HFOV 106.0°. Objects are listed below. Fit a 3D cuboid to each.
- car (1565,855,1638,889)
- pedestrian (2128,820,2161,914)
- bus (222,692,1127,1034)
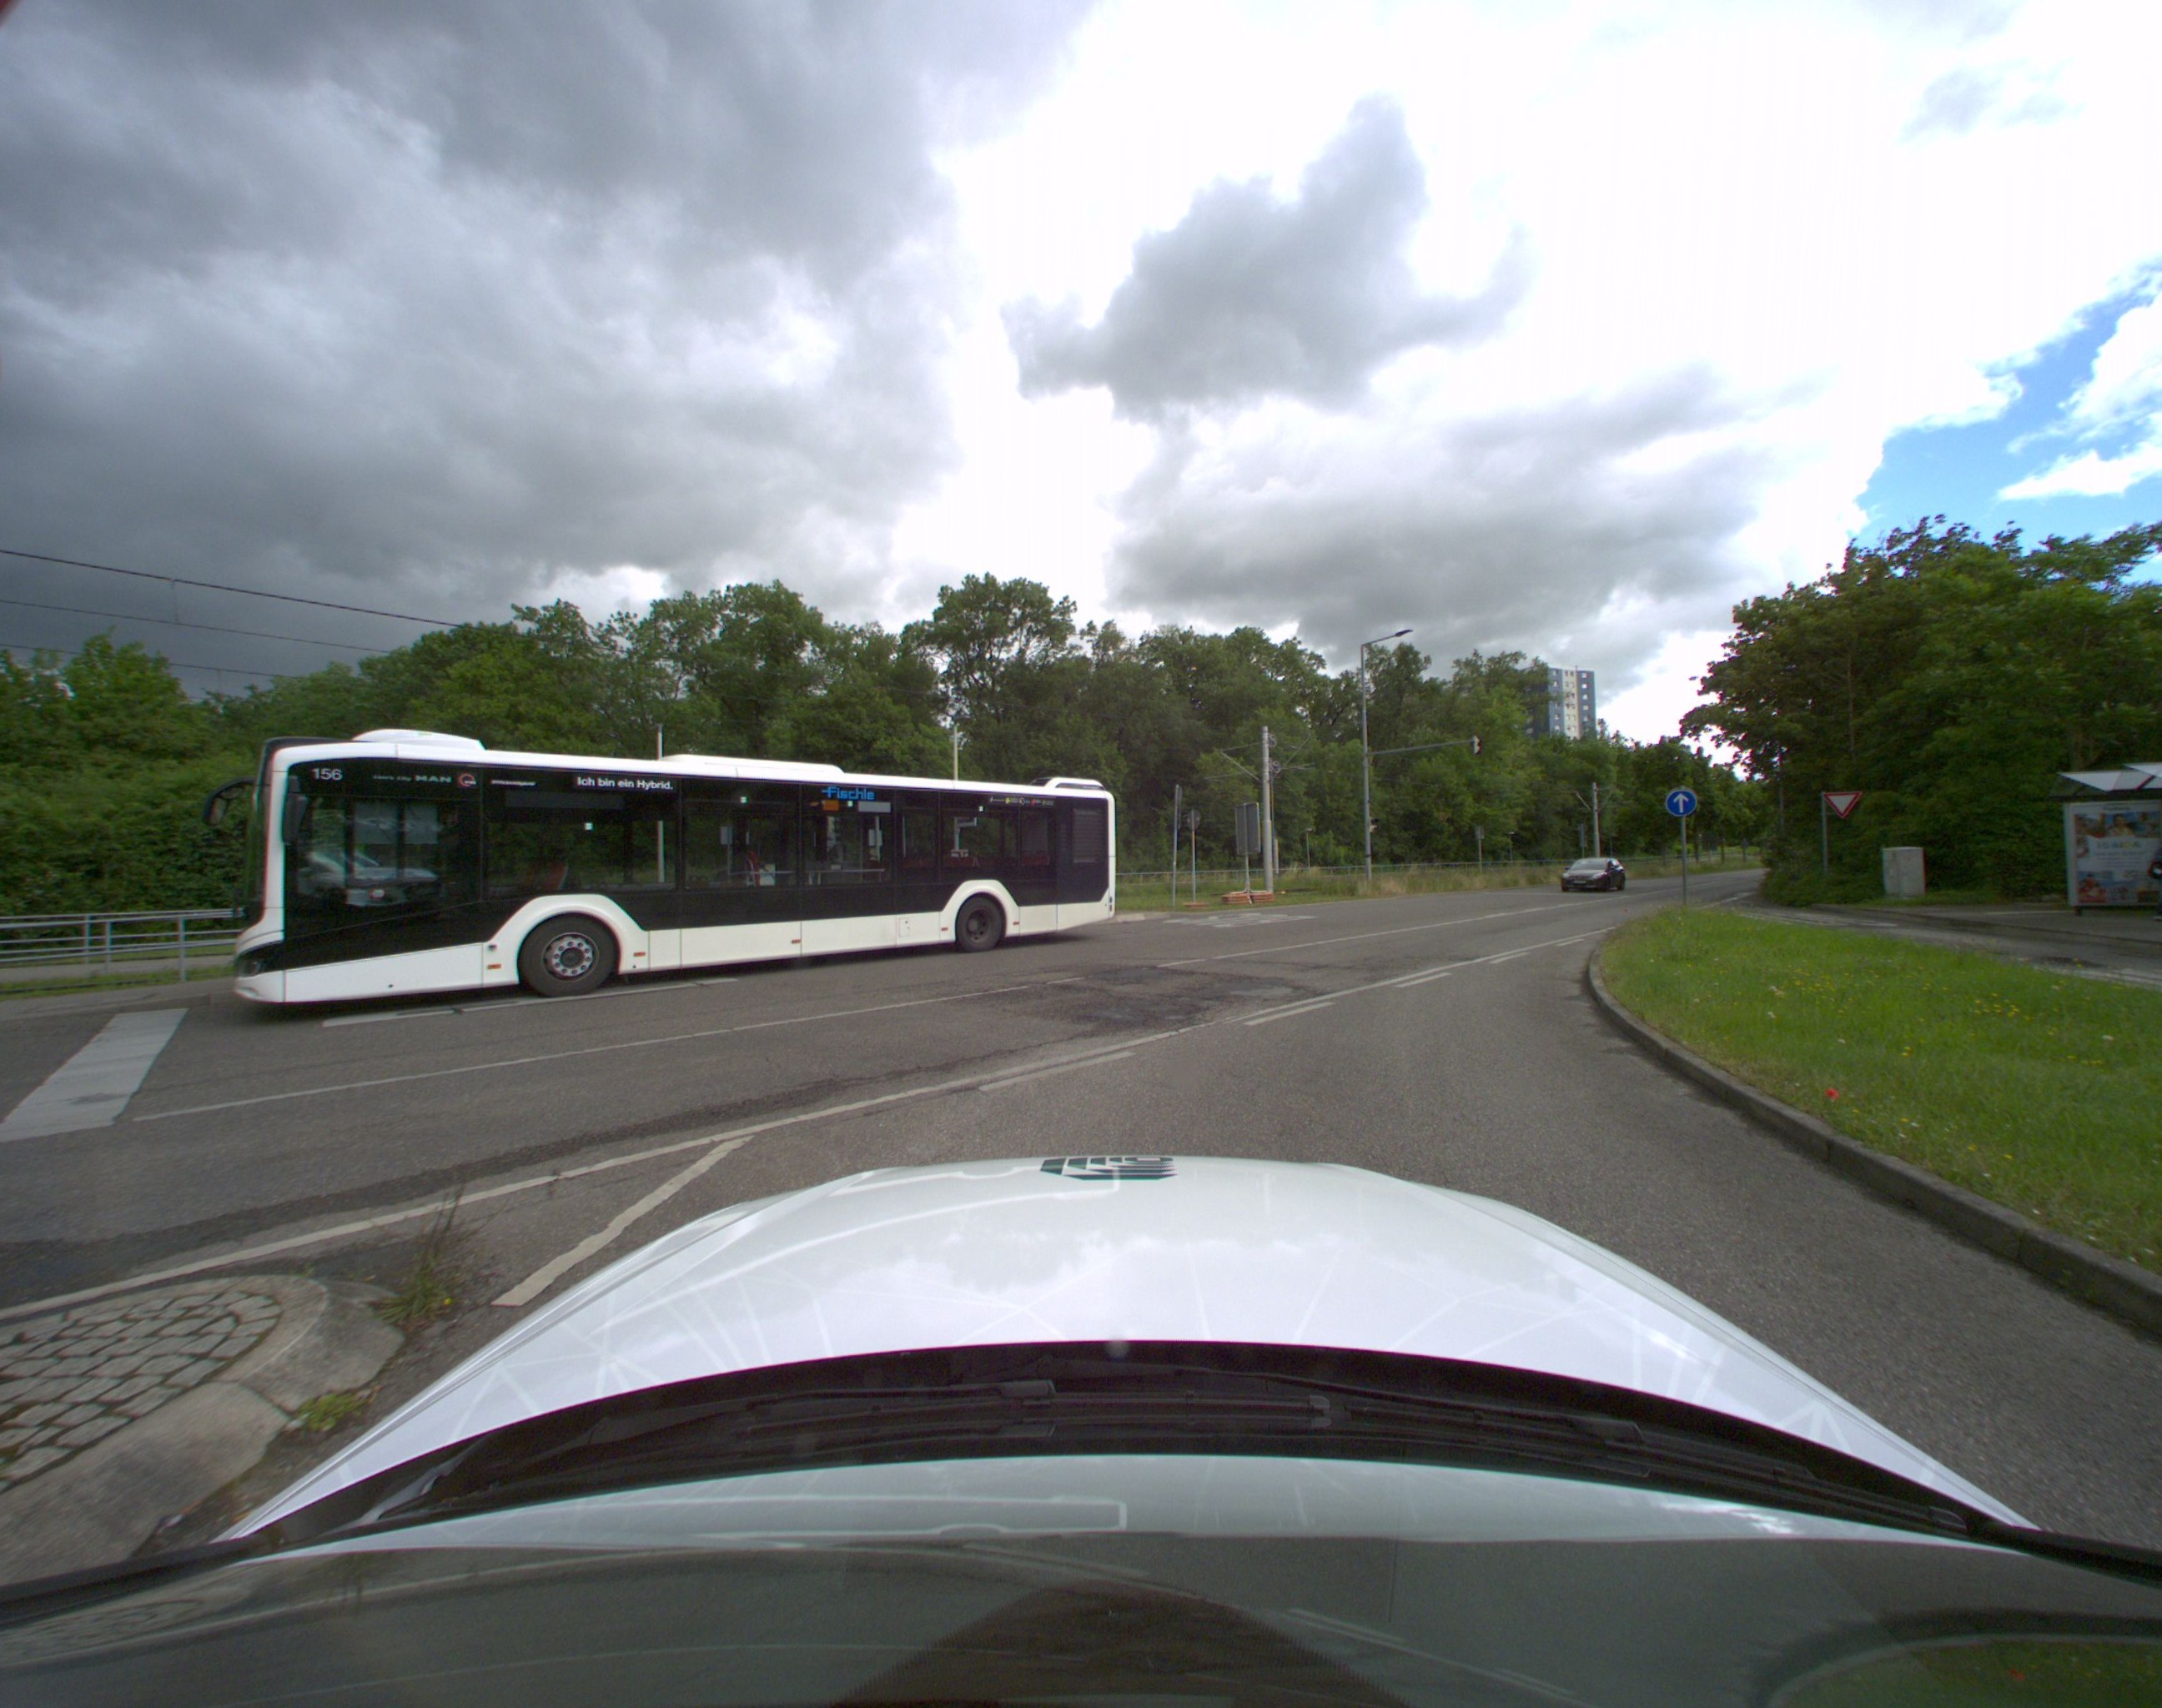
[{"bbox_3d":[23.021,0.767,35.972,4.454,1.434,1.739,0,-1,-45],"label":"car"},{"bbox_3d":[19.439,0.217,14.445,0.762,1.650,0.690,-2,-1,22],"label":"pedestrian"},{"bbox_3d":[-4.476,0.097,12.802,12.268,3.203,2.642,0,-2,-43],"label":"bus"}]
